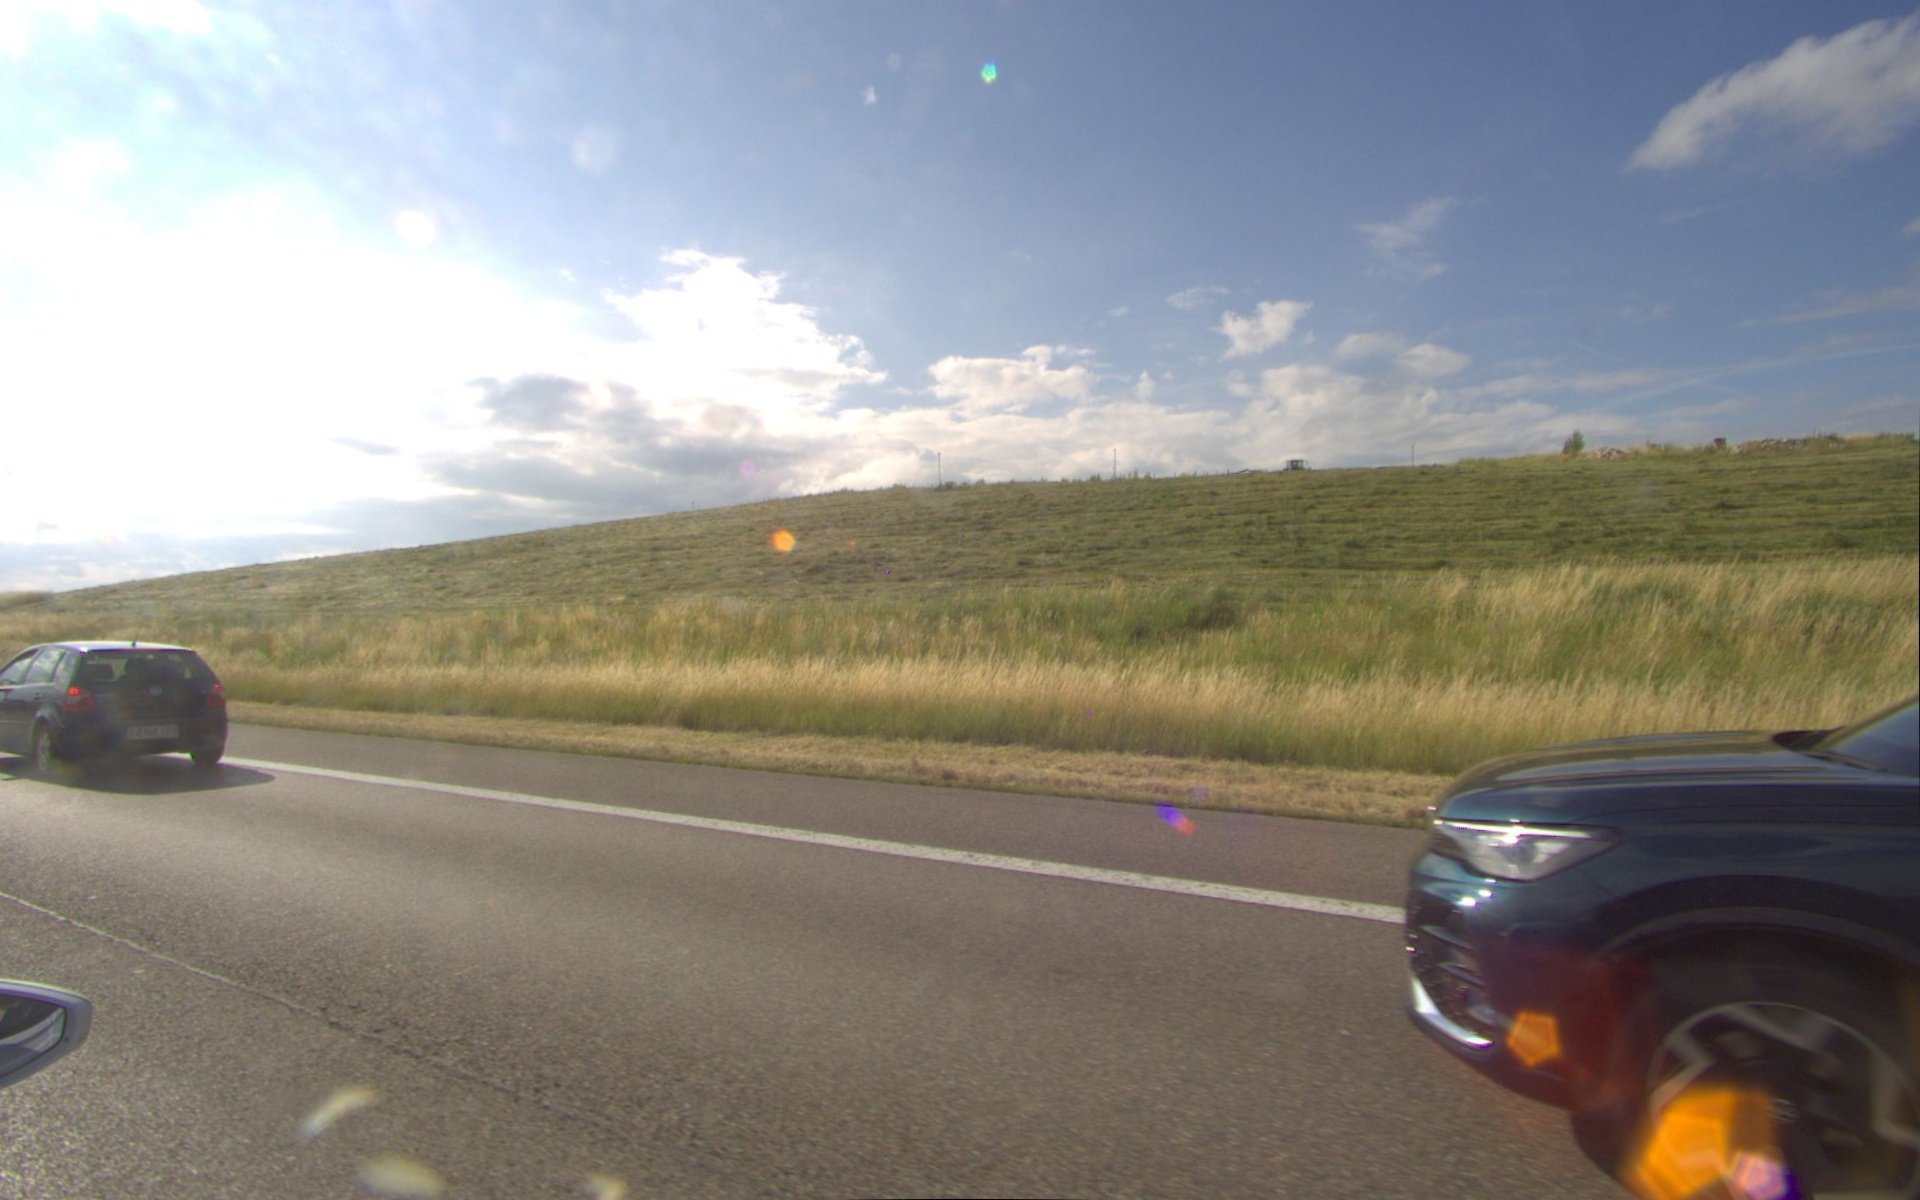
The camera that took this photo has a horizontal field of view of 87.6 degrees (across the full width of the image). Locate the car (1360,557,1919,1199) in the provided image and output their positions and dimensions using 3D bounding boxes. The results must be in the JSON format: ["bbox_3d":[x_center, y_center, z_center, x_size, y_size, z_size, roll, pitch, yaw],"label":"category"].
[{"bbox_3d":[3.351,0.721,2.415,4.175,1.621,1.818,-2,-2,32],"label":"car"}]

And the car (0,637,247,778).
[{"bbox_3d":[-10.225,1.169,11.884,3.620,1.438,1.603,-2,-2,32],"label":"car"}]
